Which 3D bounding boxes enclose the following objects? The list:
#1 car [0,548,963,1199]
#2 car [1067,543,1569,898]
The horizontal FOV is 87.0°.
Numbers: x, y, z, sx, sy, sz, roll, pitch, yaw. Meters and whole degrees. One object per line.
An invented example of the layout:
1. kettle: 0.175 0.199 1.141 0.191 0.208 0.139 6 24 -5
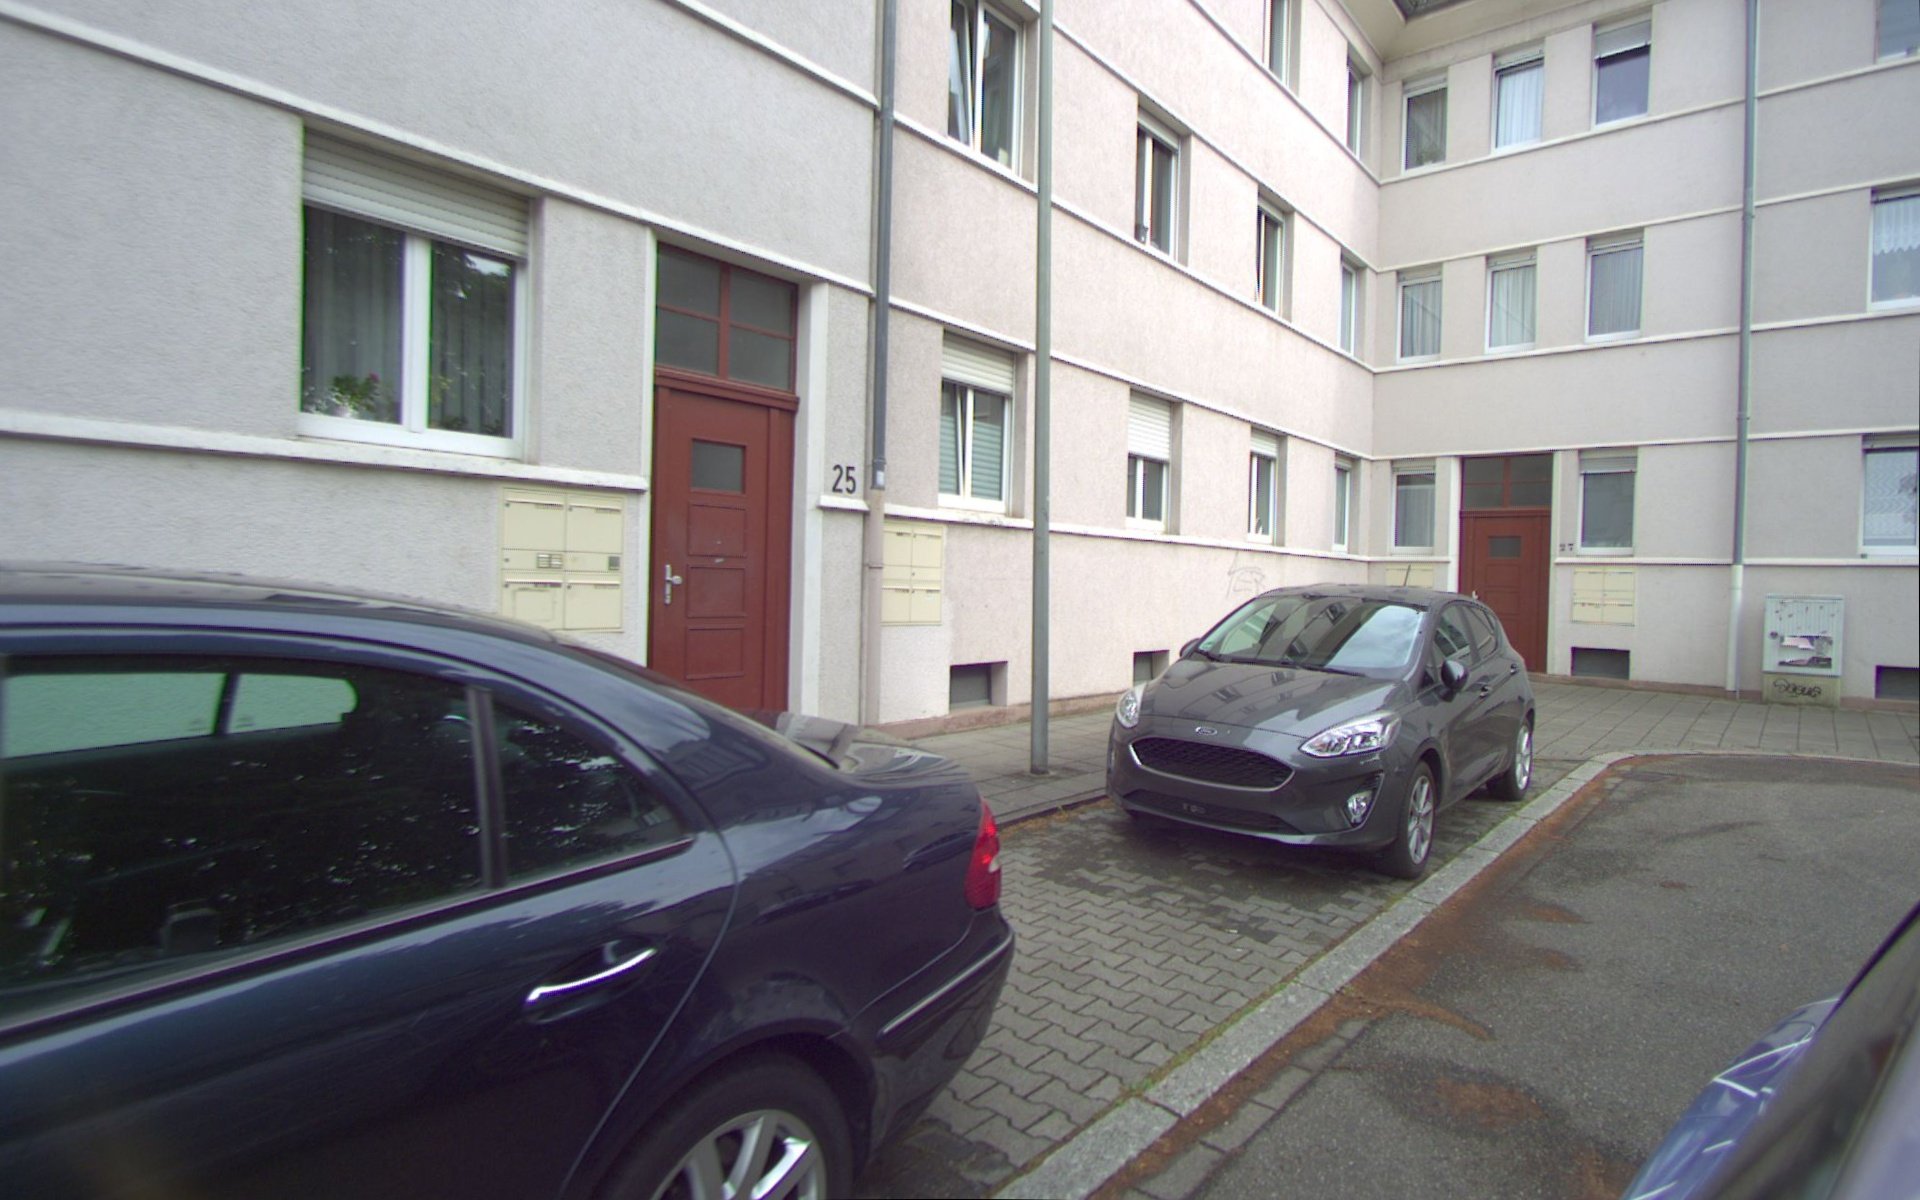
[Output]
1. car: -2.231 0.641 0.597 1.743 1.438 4.878 3 2 40
2. car: 2.563 0.511 6.567 1.755 1.544 4.020 3 2 40
